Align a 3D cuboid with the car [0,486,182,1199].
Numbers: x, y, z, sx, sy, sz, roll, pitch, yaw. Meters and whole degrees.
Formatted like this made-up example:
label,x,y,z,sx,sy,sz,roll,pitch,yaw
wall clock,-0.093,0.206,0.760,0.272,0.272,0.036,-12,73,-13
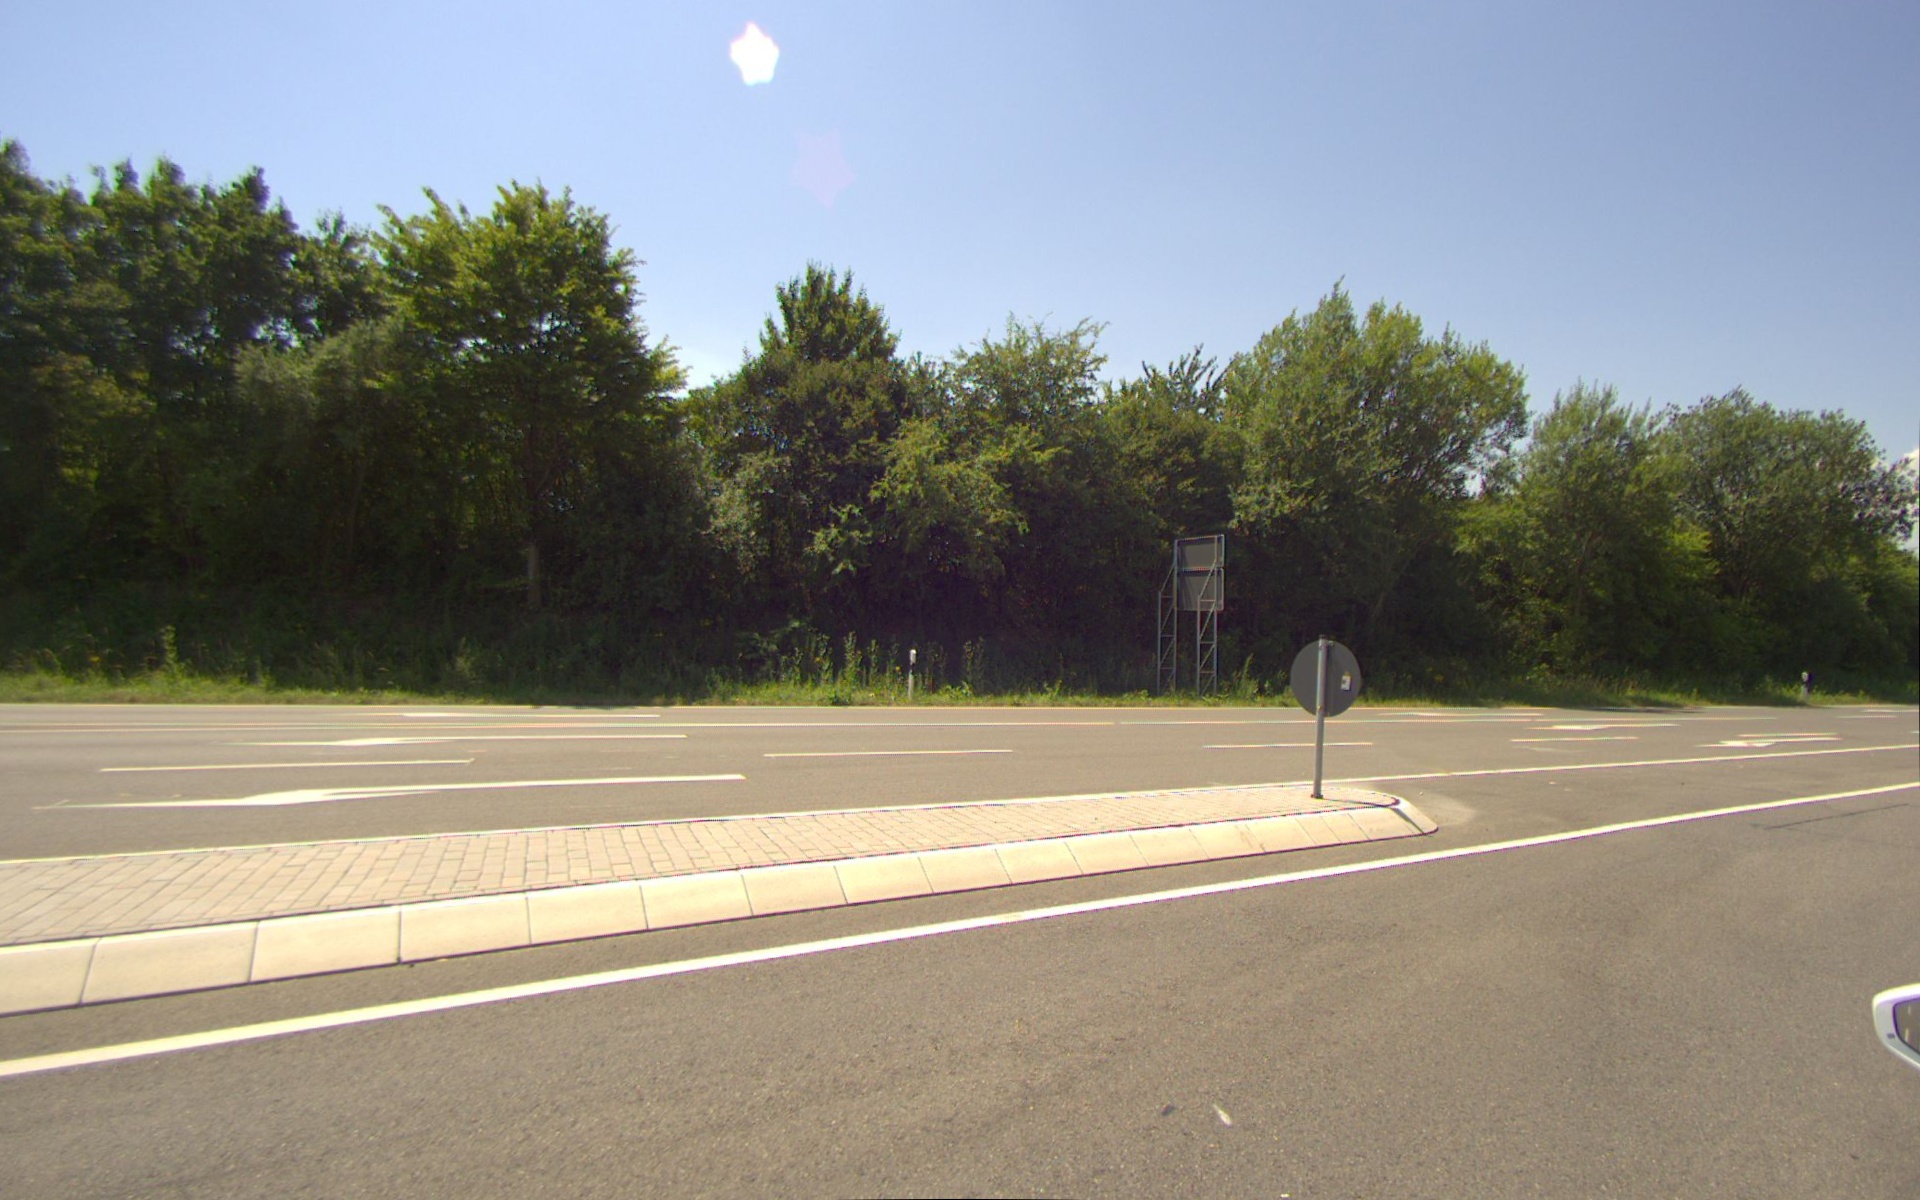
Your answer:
label,x,y,z,sx,sy,sz,roll,pitch,yaw
car,-3.738,0.499,1.217,4.157,1.513,1.646,2,-1,-29
